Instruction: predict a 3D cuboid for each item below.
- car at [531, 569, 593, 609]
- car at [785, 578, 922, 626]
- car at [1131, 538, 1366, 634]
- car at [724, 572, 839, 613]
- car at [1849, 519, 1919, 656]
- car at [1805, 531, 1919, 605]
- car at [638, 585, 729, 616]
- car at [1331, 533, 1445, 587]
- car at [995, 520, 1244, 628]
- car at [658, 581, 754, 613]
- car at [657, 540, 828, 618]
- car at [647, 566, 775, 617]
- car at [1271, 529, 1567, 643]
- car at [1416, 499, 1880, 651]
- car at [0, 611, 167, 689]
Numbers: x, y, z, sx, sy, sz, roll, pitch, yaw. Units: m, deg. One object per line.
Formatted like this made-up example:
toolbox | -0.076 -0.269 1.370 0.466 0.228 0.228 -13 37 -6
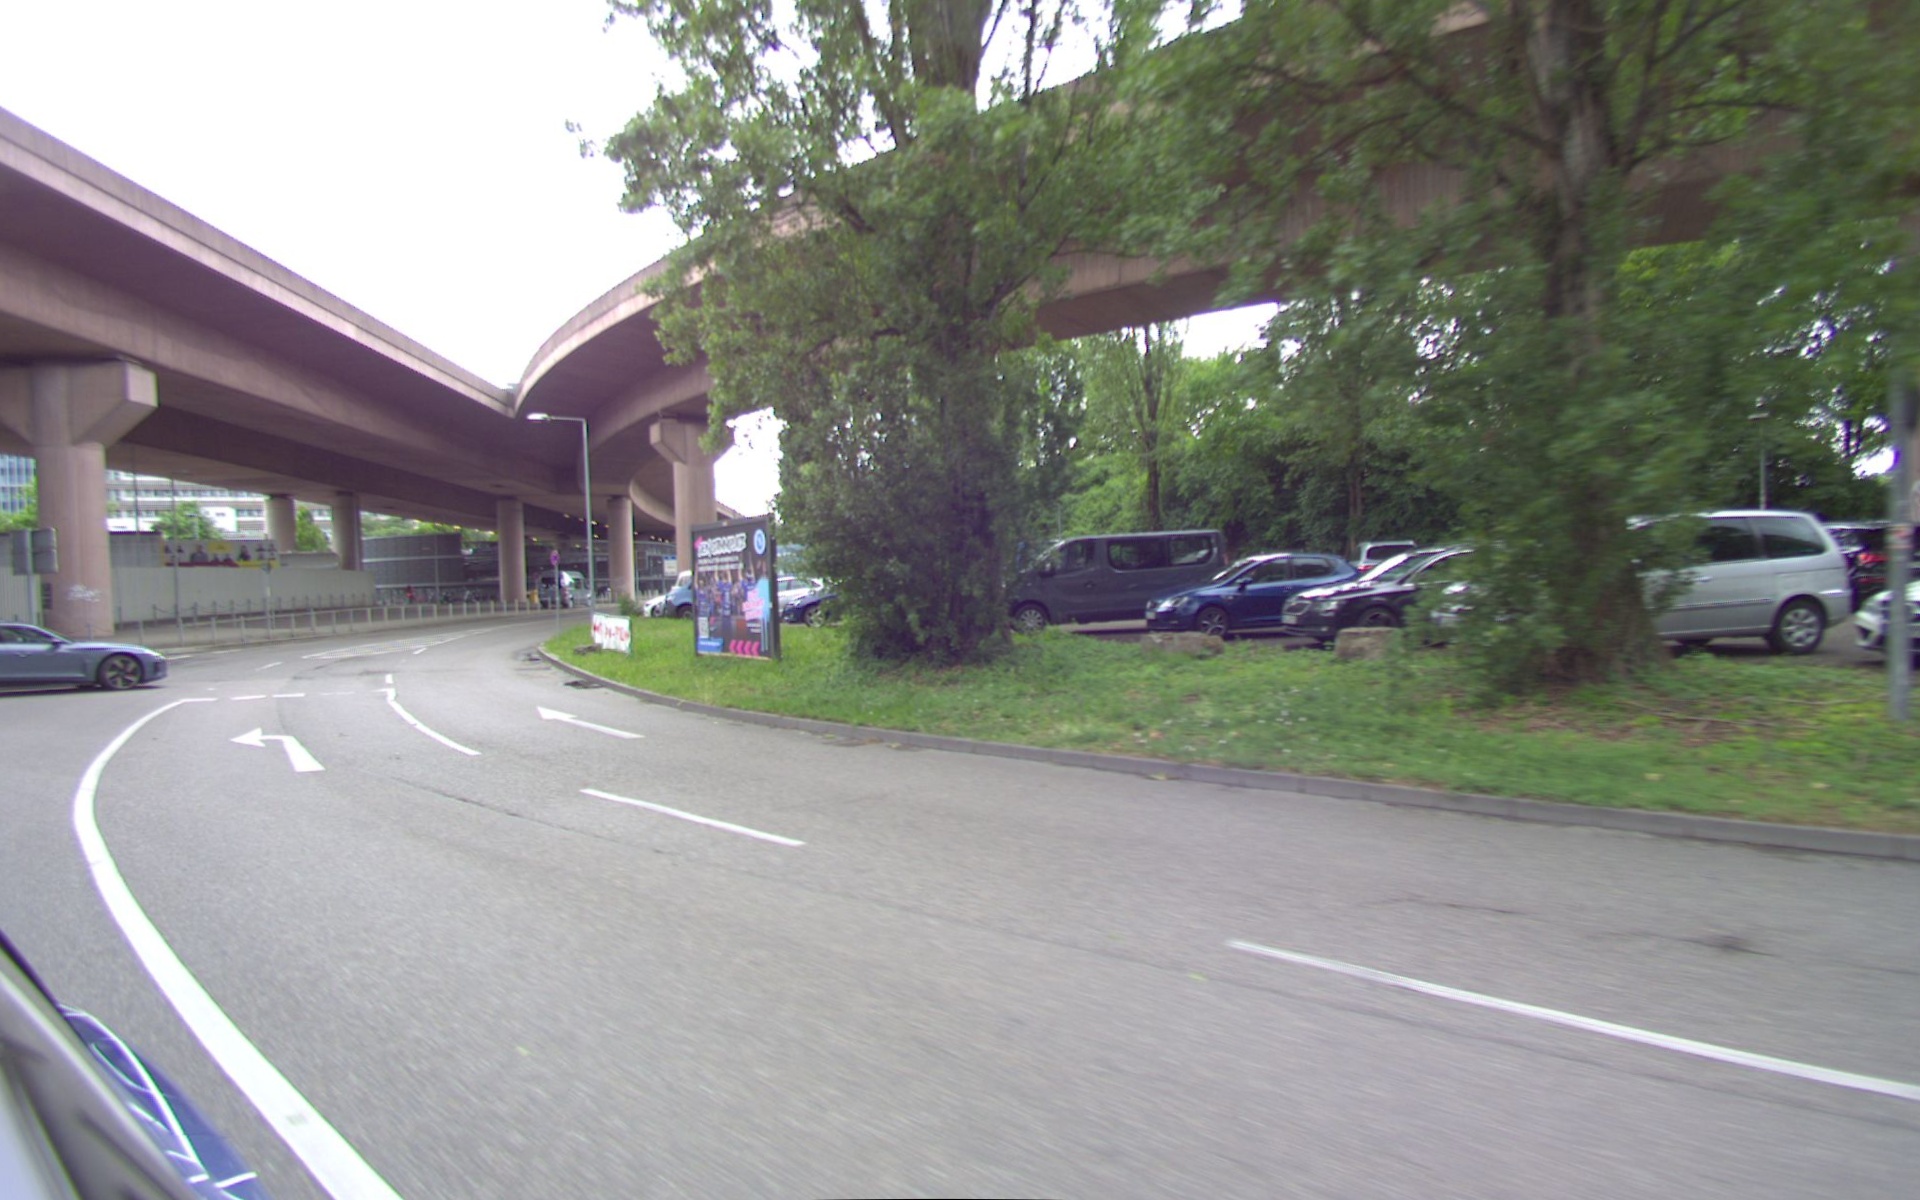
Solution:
car | -28.317 -0.734 72.193 2.270 2.605 5.688 1 -1 -1
car | -2.893 0.075 27.351 3.570 1.243 1.359 1 -2 -8
car | 4.998 -0.199 17.766 3.570 1.548 1.699 1 -2 -8
car | -5.734 -0.221 32.799 3.573 1.243 1.358 1 -2 -5
car | 11.855 -0.160 10.126 4.451 1.374 1.697 -1 1 -2
car | 17.040 -0.578 18.555 1.308 1.244 2.961 -1 1 17
car | -11.987 0.031 44.003 3.578 1.243 1.356 1 -1 1
car | 10.559 -0.956 25.152 1.377 1.244 2.981 -1 1 -4
car | 3.082 -0.474 20.230 4.656 2.029 1.855 1 -2 0
car | -10.367 -0.126 41.362 3.578 1.243 1.356 1 -1 1
car | -7.590 -0.712 35.697 5.610 2.600 1.828 0 -2 2
car | -9.443 -0.299 38.547 4.432 1.870 1.634 0 -2 2
car | 6.682 -0.202 14.990 3.574 1.548 1.698 1 1 -3
car | 8.303 -0.306 12.452 4.608 1.686 1.698 -1 1 -3
car | -18.071 0.933 18.959 1.928 1.369 4.702 -1 0 33
